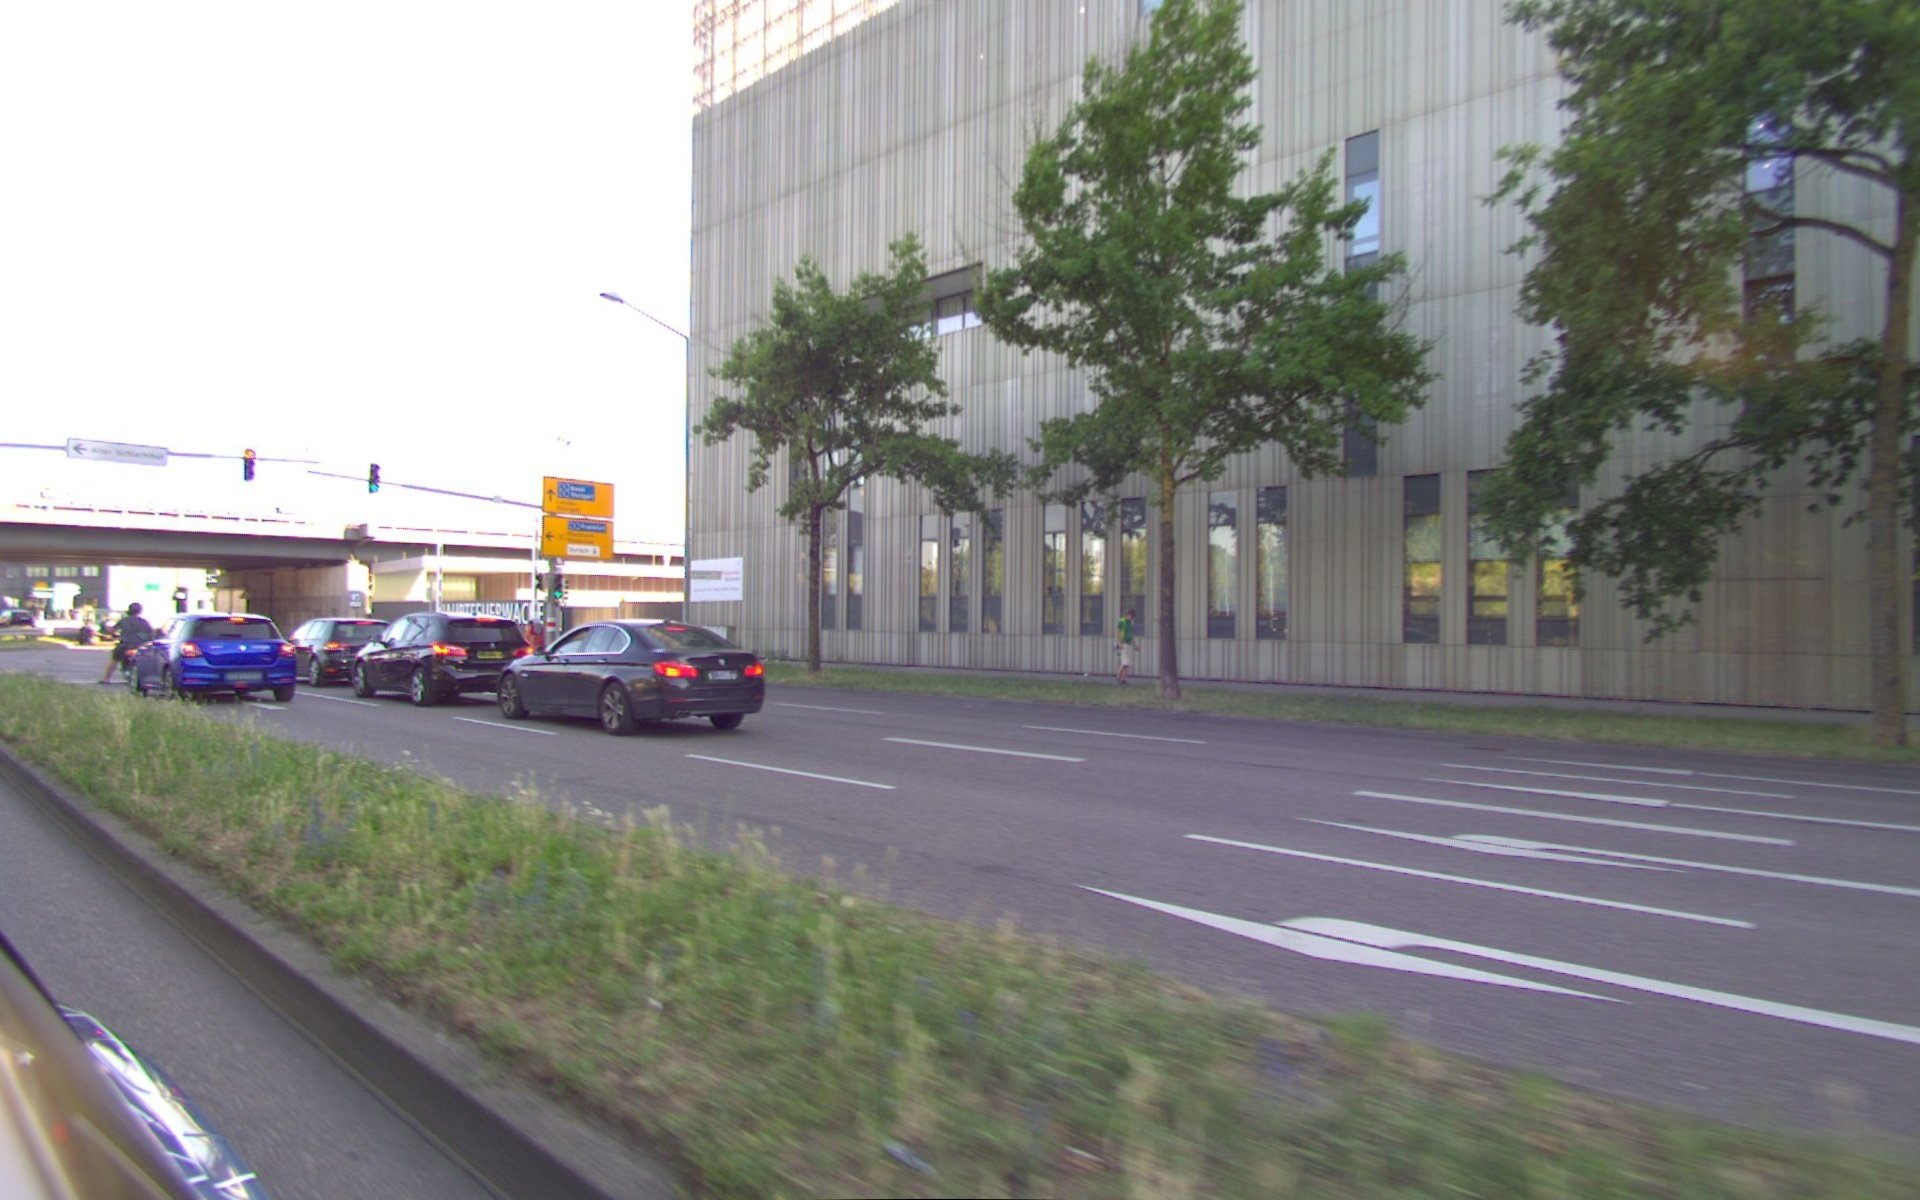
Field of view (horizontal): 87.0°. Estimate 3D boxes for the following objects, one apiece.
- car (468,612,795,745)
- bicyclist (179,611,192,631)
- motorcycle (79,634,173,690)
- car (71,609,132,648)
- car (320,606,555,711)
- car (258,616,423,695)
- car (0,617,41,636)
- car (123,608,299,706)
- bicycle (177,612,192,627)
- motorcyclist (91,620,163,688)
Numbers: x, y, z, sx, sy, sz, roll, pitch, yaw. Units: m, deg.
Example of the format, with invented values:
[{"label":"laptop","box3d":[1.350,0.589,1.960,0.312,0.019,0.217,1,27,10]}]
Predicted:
[{"label":"car","box3d":[-4.653,1.000,13.953,4.795,1.463,1.973,0,-5,40]},{"label":"bicyclist","box3d":[-61.806,1.655,80.731,0.716,1.575,0.940,-1,1,-45]},{"label":"motorcycle","box3d":[-17.326,1.271,20.998,2.395,1.084,0.833,-1,-4,35]},{"label":"car","box3d":[-47.016,1.563,55.410,3.990,1.994,1.776,-2,-5,40]},{"label":"car","box3d":[-9.420,0.992,18.078,4.711,1.604,1.973,0,-4,40]},{"label":"car","box3d":[-13.975,1.160,22.759,4.077,1.486,1.974,0,1,40]},{"label":"car","box3d":[-76.704,2.147,82.507,4.345,1.411,1.973,0,-4,40]},{"label":"car","box3d":[-12.850,0.935,17.282,3.858,1.463,1.683,0,-5,44]},{"label":"bicycle","box3d":[-61.801,1.592,80.646,0.697,1.165,2.082,-1,-1,-45]},{"label":"motorcyclist","box3d":[-17.240,1.123,20.942,1.271,1.360,0.790,-2,-4,34]}]
